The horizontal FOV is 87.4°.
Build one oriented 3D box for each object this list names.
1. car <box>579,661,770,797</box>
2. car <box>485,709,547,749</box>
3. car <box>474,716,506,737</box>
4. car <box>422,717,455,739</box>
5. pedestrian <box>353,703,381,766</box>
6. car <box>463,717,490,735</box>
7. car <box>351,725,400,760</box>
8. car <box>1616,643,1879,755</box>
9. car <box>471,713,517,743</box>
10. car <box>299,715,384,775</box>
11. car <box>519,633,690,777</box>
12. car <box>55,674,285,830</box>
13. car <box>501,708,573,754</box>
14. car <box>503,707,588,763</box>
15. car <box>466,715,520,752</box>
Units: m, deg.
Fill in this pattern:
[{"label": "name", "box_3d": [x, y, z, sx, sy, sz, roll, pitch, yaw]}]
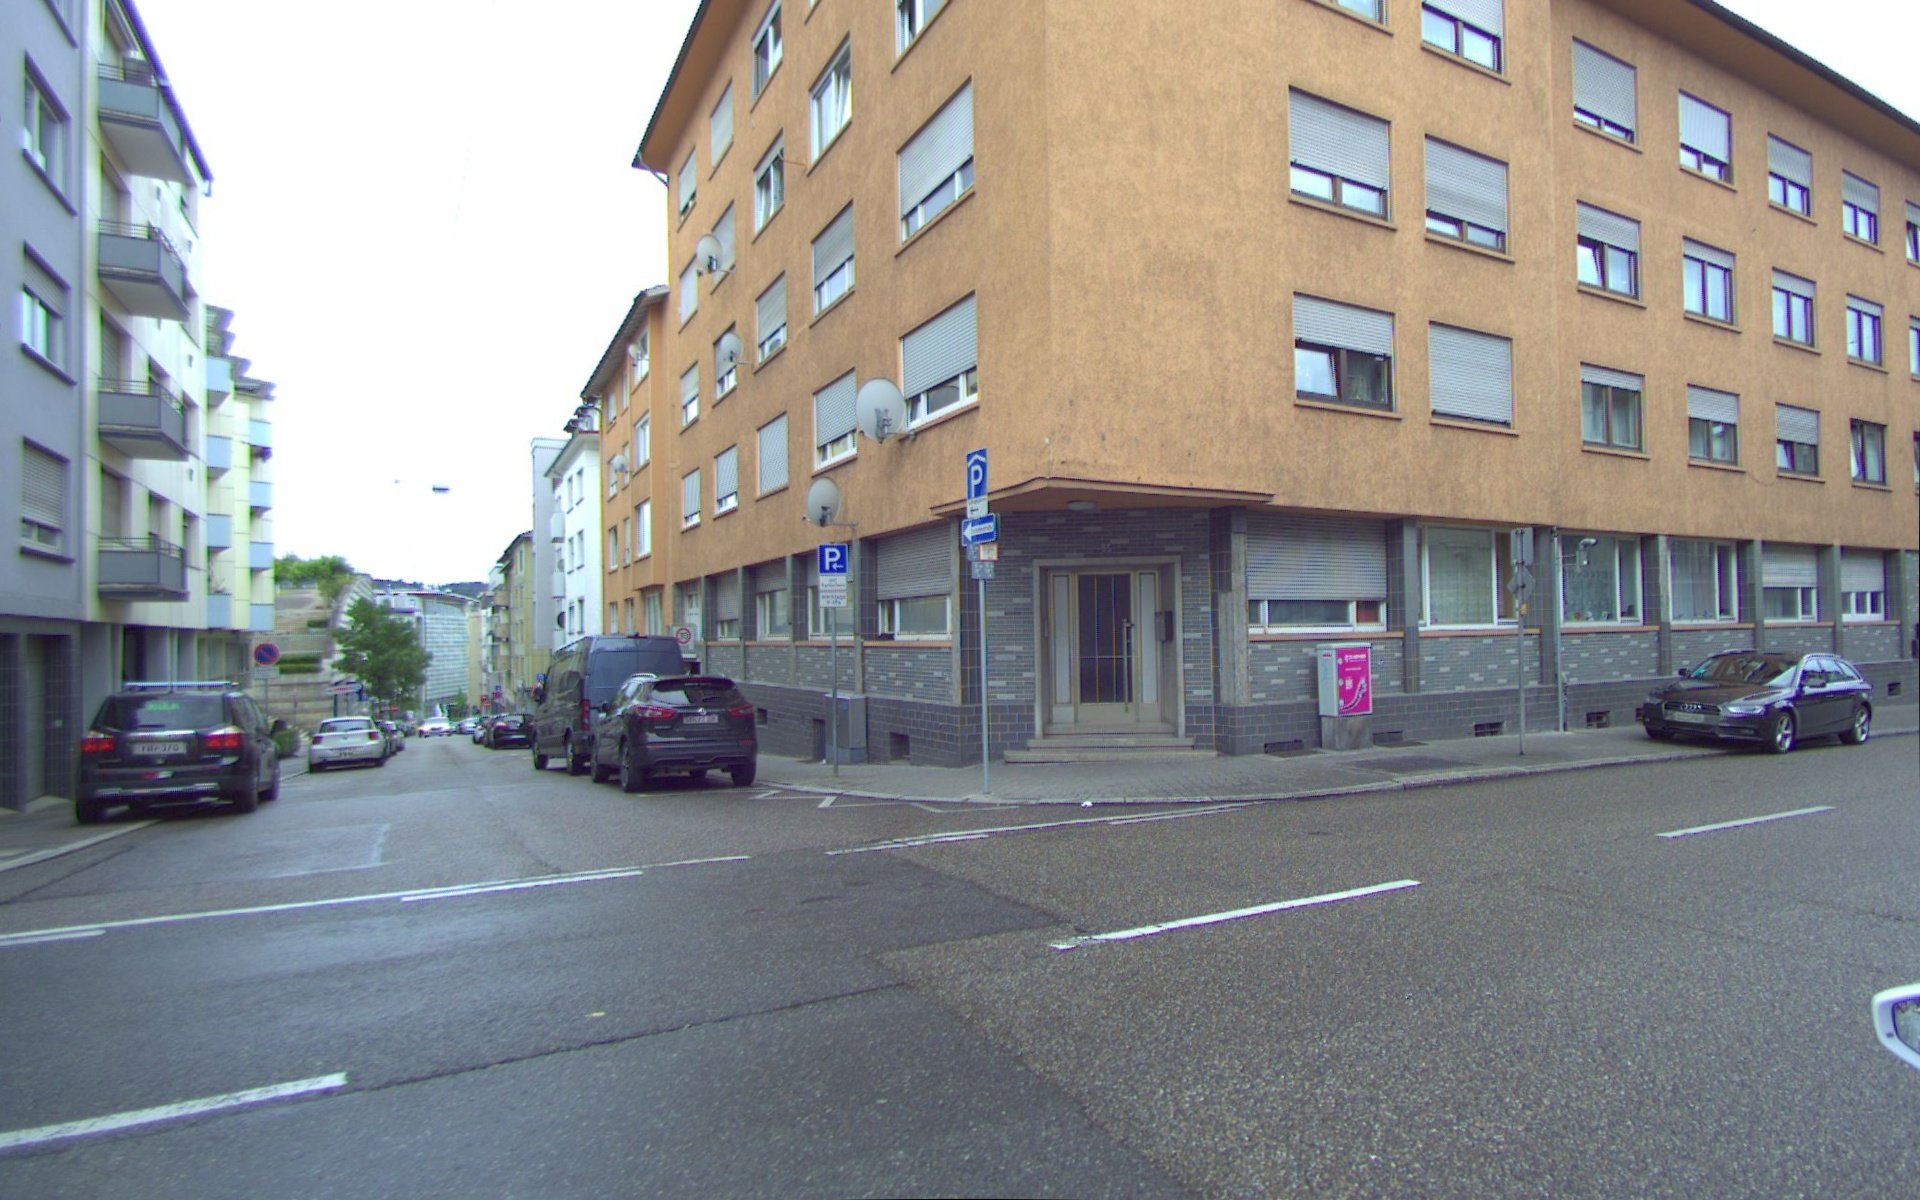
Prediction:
[{"label": "car", "box_3d": [-4.362, 1.863, 14.900, 1.906, 1.673, 3.973, 0, -6, -28]}, {"label": "car", "box_3d": [-18.271, 5.282, 41.243, 1.908, 1.478, 3.971, 1, -6, -30]}, {"label": "car", "box_3d": [-35.659, 9.587, 76.194, 1.908, 1.478, 3.971, 1, -6, -30]}, {"label": "car", "box_3d": [-38.393, 9.375, 73.873, 1.908, 1.478, 3.969, 1, -6, -31]}, {"label": "pedestrian", "box_3d": [-18.401, 4.159, 31.181, 0.713, 1.840, 0.600, 0, -1, -30]}, {"label": "car", "box_3d": [-43.637, 11.405, 90.700, 1.908, 1.478, 3.971, 1, -6, -30]}, {"label": "car", "box_3d": [-27.684, 6.714, 47.618, 1.908, 1.478, 3.971, 1, -6, -30]}, {"label": "car", "box_3d": [12.719, 1.484, 16.158, 4.497, 1.478, 1.881, 1, -1, -31]}, {"label": "car", "box_3d": [-25.289, 6.935, 54.495, 1.908, 1.478, 3.971, 1, -6, -30]}, {"label": "car", "box_3d": [-17.346, 4.031, 28.322, 1.908, 1.478, 3.971, 1, -6, -30]}, {"label": "car", "box_3d": [-7.289, 2.103, 20.177, 1.962, 2.490, 5.312, 1, -6, -34]}, {"label": "car", "box_3d": [-10.618, 2.001, 13.833, 1.908, 1.739, 3.971, 1, -6, -30]}, {"label": "car", "box_3d": [-15.245, 4.683, 36.087, 1.908, 1.478, 3.971, 1, -6, -30]}, {"label": "car", "box_3d": [-12.721, 4.087, 30.711, 1.908, 1.478, 3.971, 1, -6, -30]}, {"label": "car", "box_3d": [-21.390, 6.075, 45.962, 1.908, 1.478, 3.971, 1, -6, -30]}]
